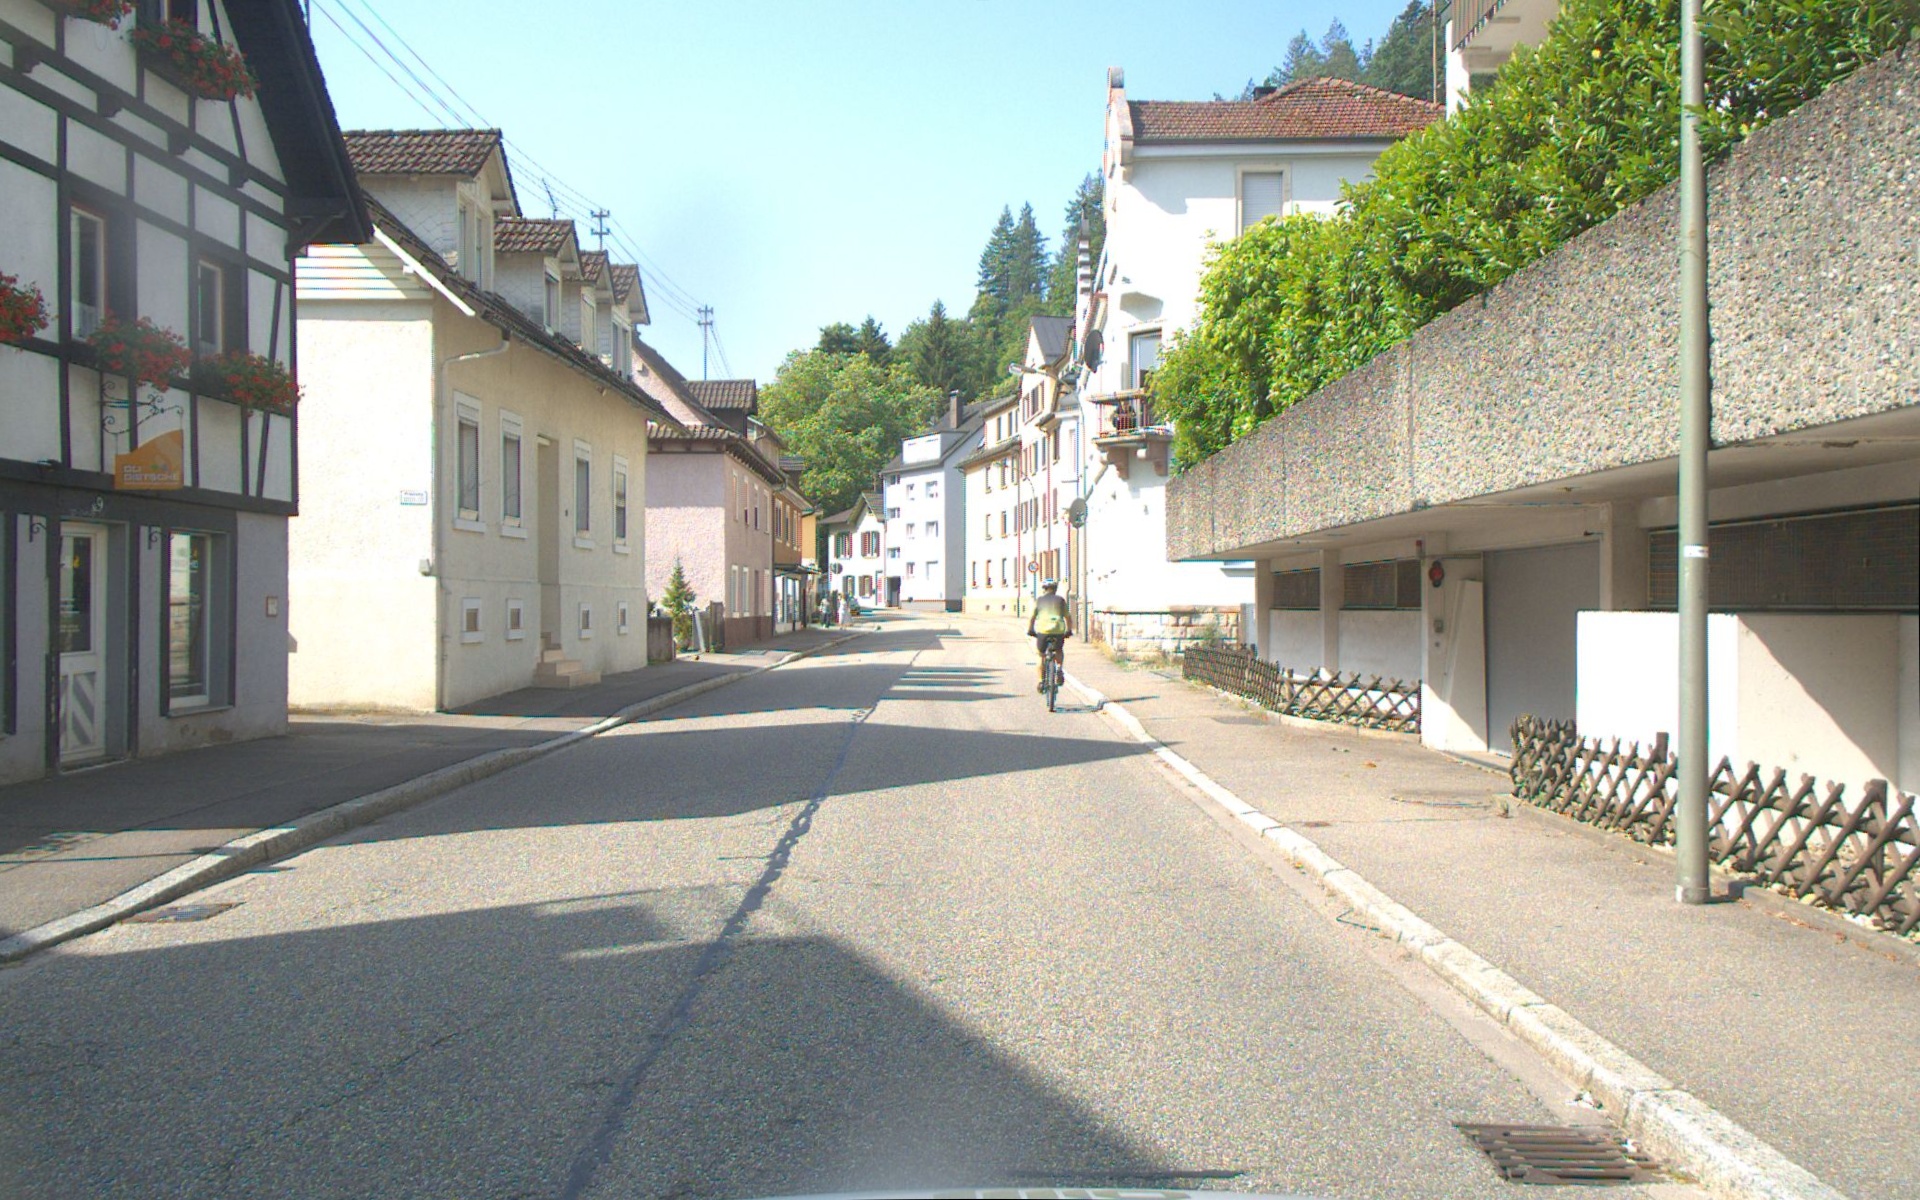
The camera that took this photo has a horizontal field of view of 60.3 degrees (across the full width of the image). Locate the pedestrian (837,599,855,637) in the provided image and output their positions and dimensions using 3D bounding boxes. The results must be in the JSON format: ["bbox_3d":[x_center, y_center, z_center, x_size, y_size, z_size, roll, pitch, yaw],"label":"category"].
[{"bbox_3d":[-5.100,0.792,74.022,0.626,1.654,0.777,3,0,1],"label":"pedestrian"}]

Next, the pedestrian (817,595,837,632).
[{"bbox_3d":[-5.957,0.594,74.131,0.720,1.592,0.824,3,0,1],"label":"pedestrian"}]

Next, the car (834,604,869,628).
[{"bbox_3d":[-7.313,1.072,111.257,1.571,1.490,3.644,-3,0,-15],"label":"car"}]

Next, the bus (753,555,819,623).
[{"bbox_3d":[-8.904,-0.562,85.480,2.764,3.284,9.031,1,0,-3],"label":"bus"}]

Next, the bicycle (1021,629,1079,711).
[{"bbox_3d":[1.236,0.950,22.842,0.684,1.053,1.471,0,0,-1],"label":"bicycle"}]

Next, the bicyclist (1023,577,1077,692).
[{"bbox_3d":[1.234,0.468,22.782,0.671,1.558,0.715,-1,0,-2],"label":"bicyclist"}]
